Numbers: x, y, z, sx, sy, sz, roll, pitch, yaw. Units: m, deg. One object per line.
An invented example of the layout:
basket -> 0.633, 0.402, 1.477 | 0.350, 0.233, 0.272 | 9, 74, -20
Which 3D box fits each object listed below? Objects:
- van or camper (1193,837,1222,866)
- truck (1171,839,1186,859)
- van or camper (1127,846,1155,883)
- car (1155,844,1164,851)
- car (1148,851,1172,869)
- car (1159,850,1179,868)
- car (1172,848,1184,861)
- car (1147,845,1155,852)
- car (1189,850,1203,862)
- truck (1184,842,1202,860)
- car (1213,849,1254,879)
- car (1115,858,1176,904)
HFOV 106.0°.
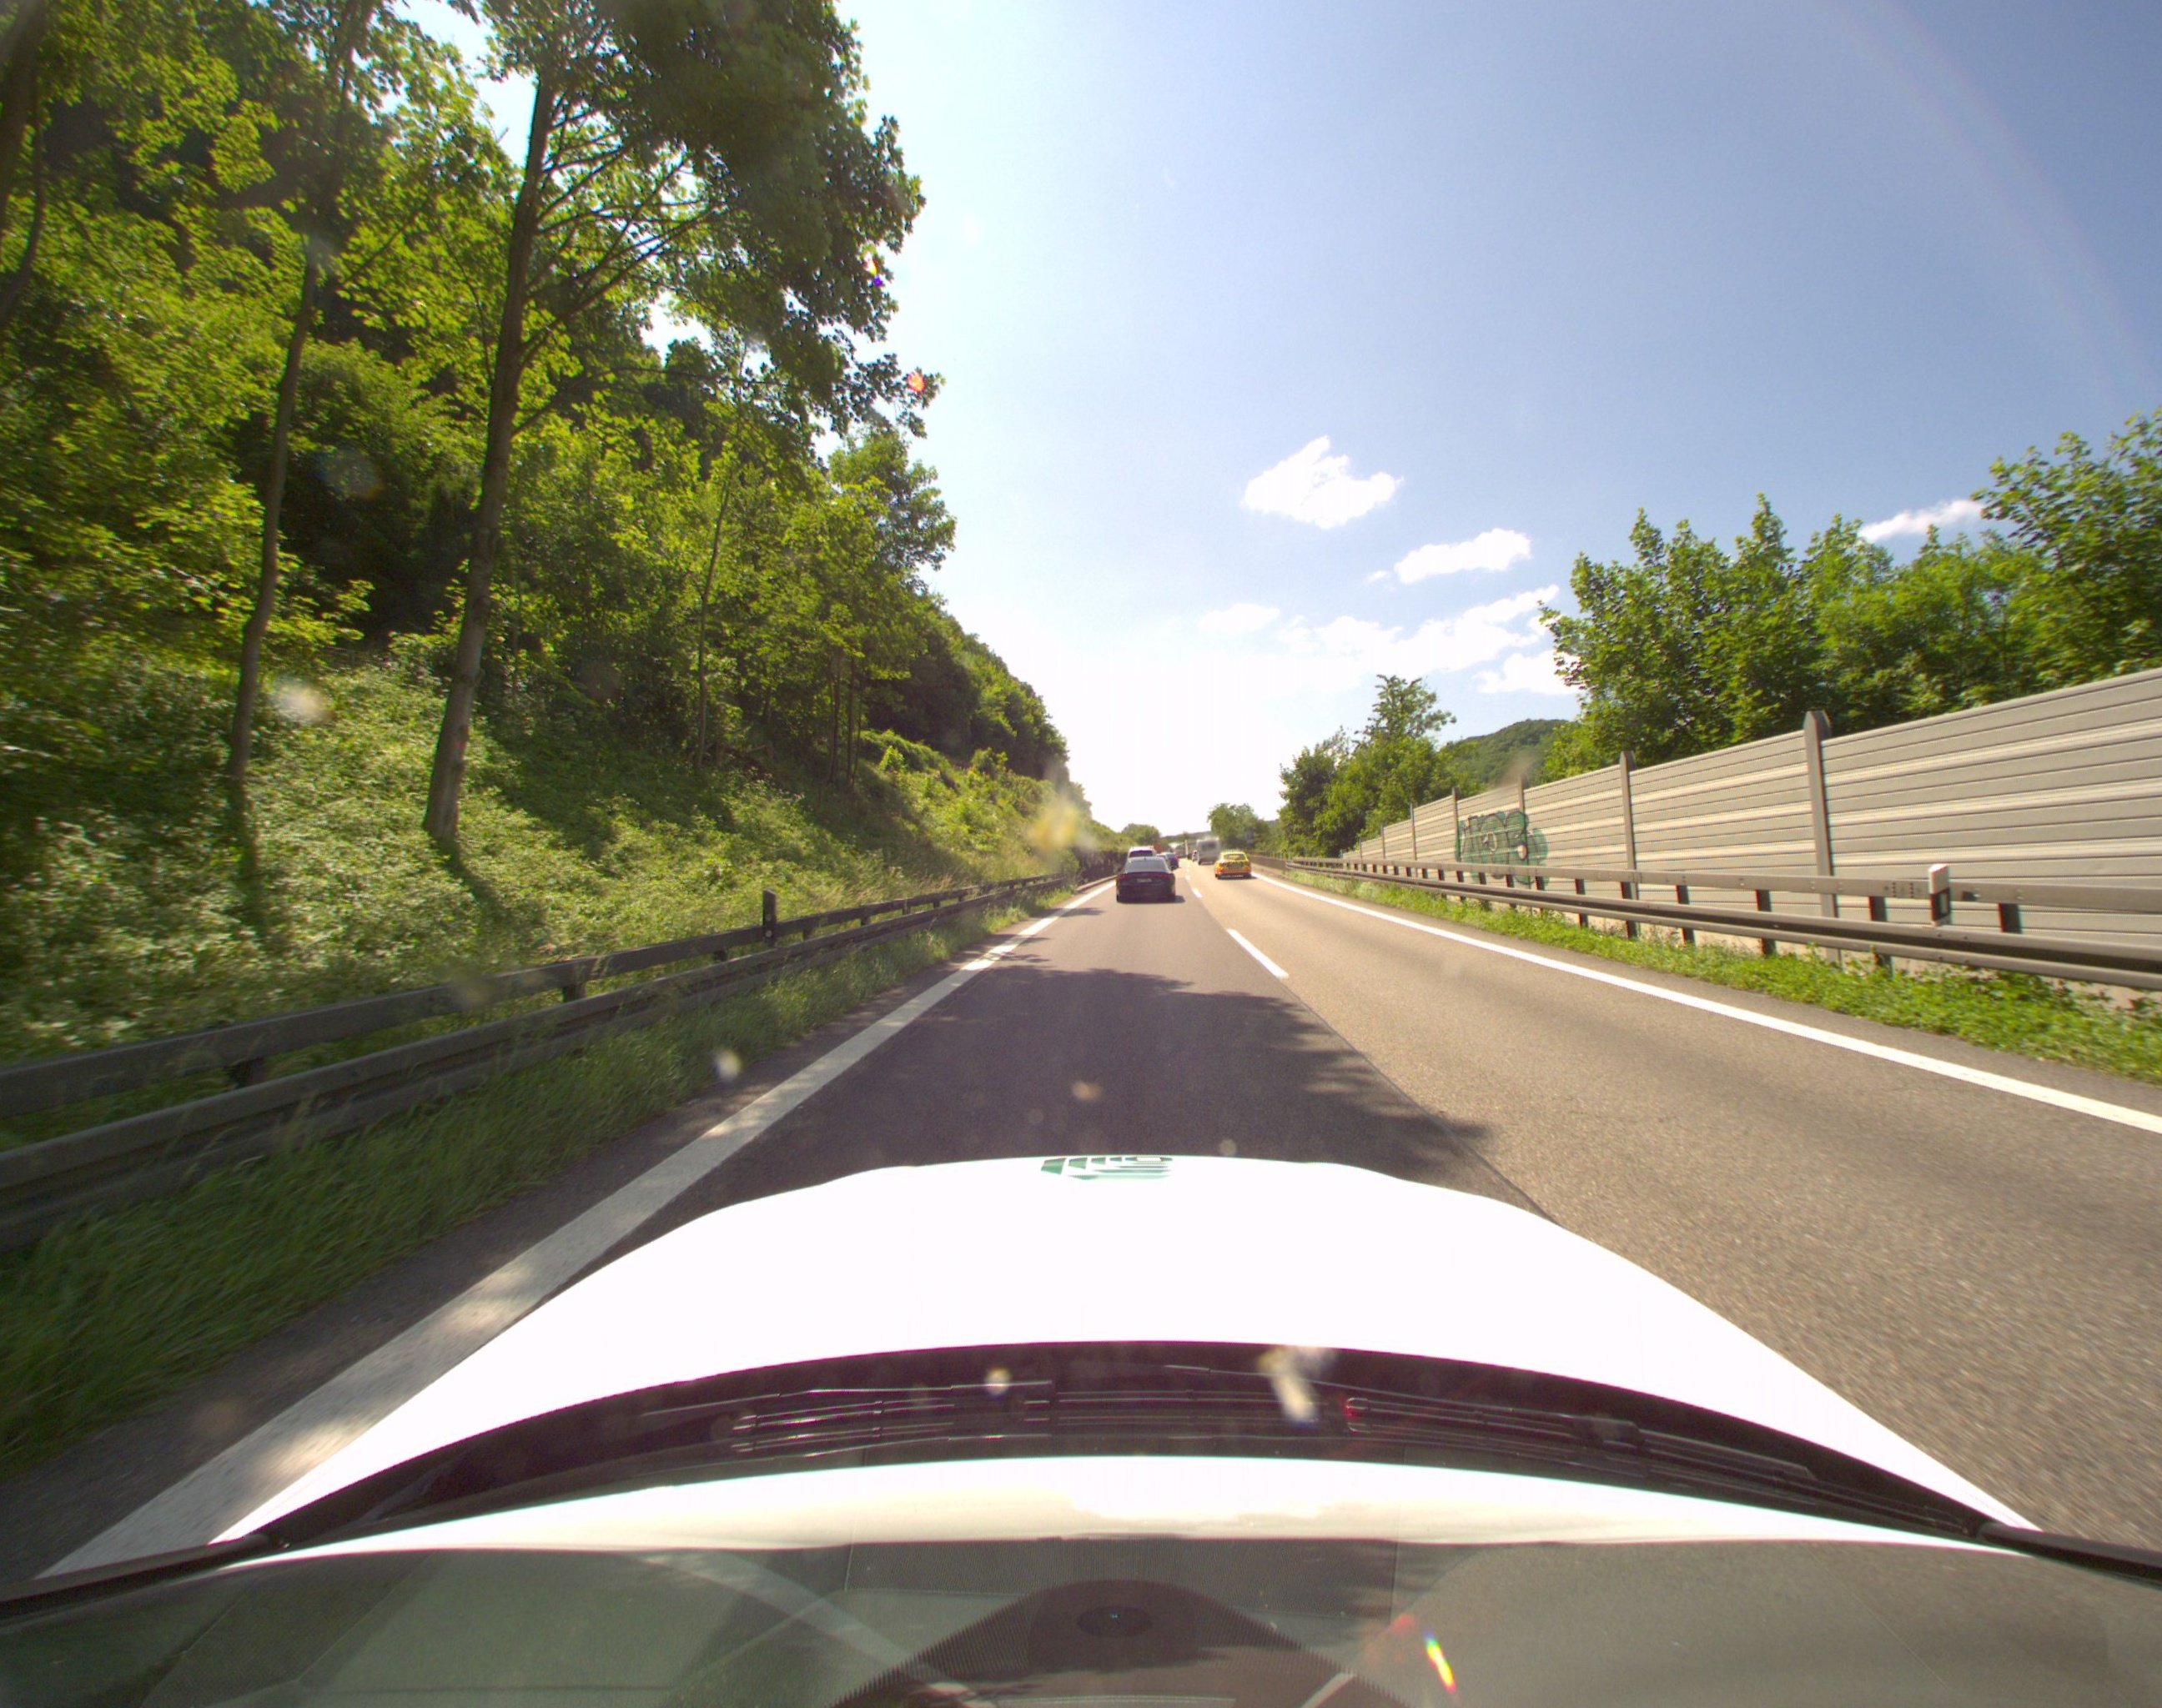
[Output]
van or camper -> 13.188, -0.204, 85.284 | 2.444, 2.918, 6.134 | -1, -1, 5
truck -> 21.210, -1.102, 177.363 | 2.722, 4.096, 7.483 | -1, 0, 2
van or camper -> 3.163, 0.566, 43.627 | 1.386, 1.816, 4.003 | -1, -1, 3
car -> 22.258, -1.855, 230.268 | 1.988, 2.013, 3.998 | -2, 0, -1
car -> 6.569, 0.504, 67.446 | 1.737, 1.431, 4.010 | -1, -1, 9
car -> 8.476, 0.476, 78.527 | 1.765, 1.637, 4.005 | -1, 0, 4
car -> 16.144, 0.041, 135.450 | 1.983, 2.064, 4.008 | -1, 0, 7
car -> 21.887, -1.650, 256.039 | 1.988, 2.013, 3.997 | -2, 0, -2
car -> 16.227, 0.253, 115.293 | 1.831, 1.717, 4.008 | -1, 0, 7
truck -> 19.659, -0.559, 143.379 | 2.827, 3.131, 7.489 | -1, 0, 5
car -> 8.243, 0.557, 44.330 | 1.853, 1.488, 4.007 | -1, -1, 6
car -> 2.179, 0.847, 26.868 | 1.828, 1.349, 4.006 | -1, -1, 6
